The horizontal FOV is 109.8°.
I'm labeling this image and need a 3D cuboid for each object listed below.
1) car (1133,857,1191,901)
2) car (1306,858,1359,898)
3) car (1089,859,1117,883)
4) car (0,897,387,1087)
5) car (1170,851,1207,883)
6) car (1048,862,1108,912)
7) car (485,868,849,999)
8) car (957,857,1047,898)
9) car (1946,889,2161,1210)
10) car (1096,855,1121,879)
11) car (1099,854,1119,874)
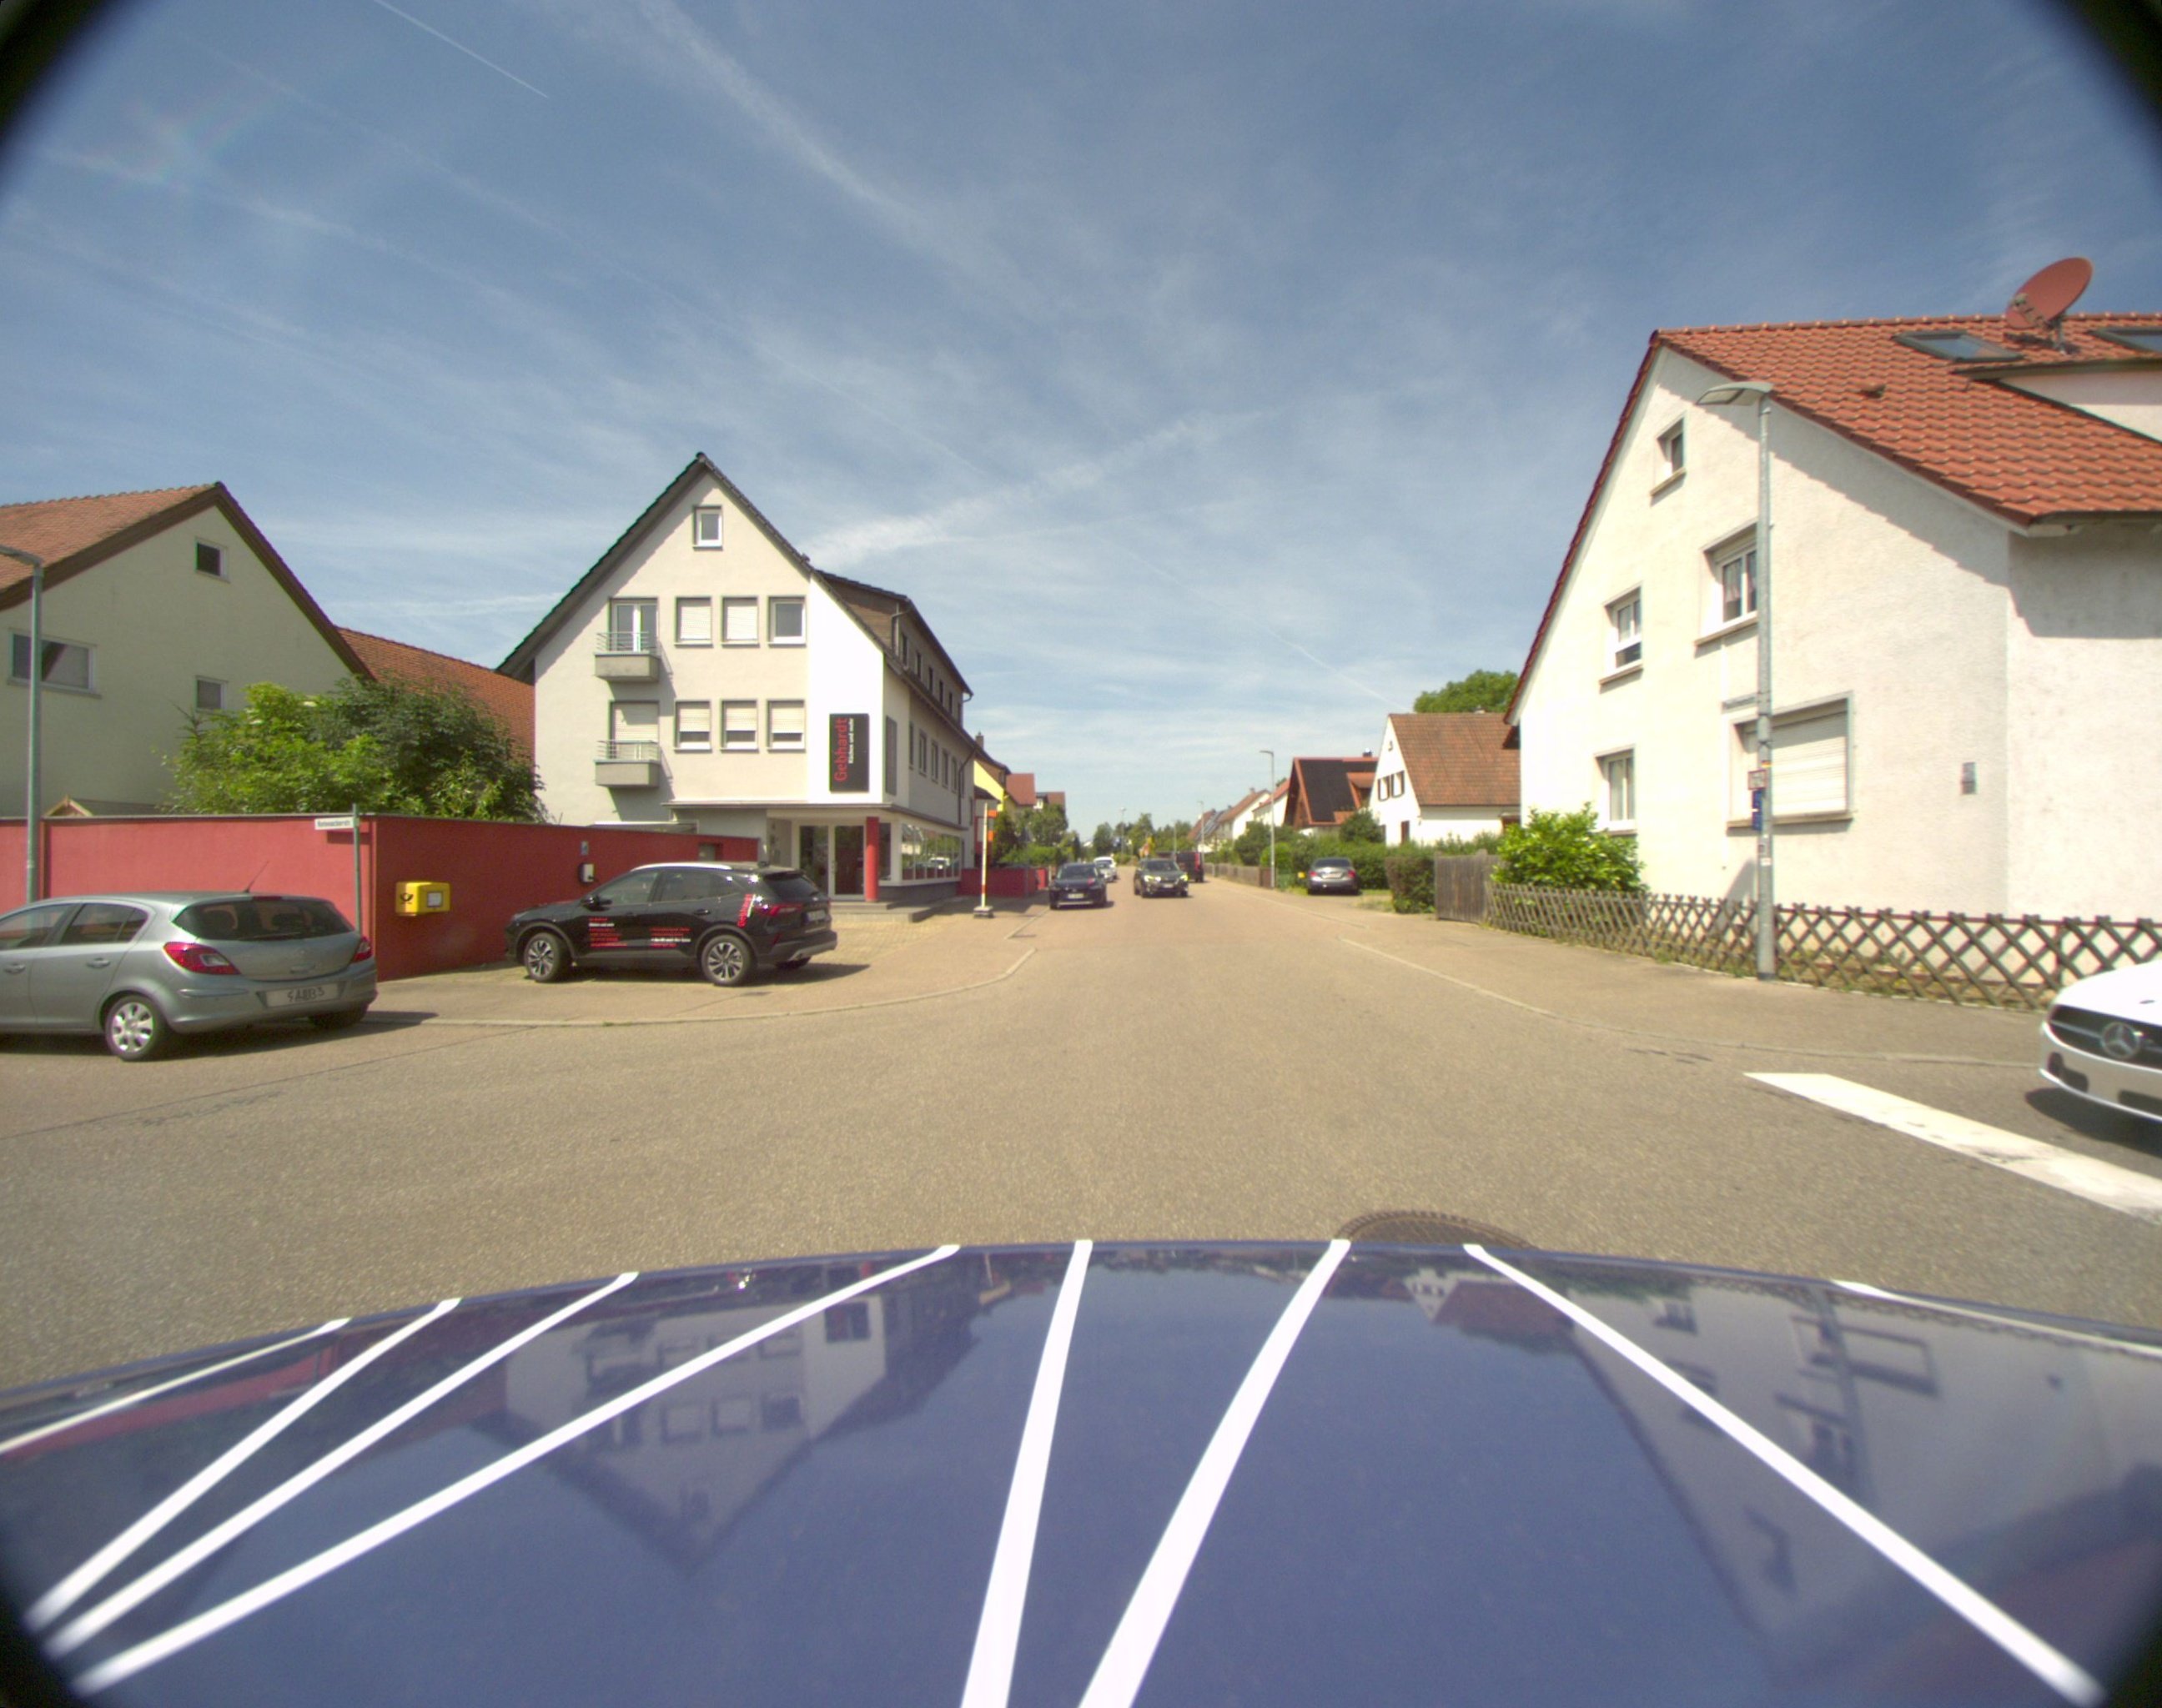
[{"bbox_3d":[3.292,0.977,31.556,1.838,1.637,4.323,-1,0,-1],"label":"car"},{"bbox_3d":[10.036,0.915,30.178,1.829,1.423,4.569,-1,0,19],"label":"car"},{"bbox_3d":[1.509,1.107,51.356,1.755,1.412,4.421,-2,0,3],"label":"car"},{"bbox_3d":[-9.300,1.194,7.329,3.994,1.495,1.696,-1,-1,8],"label":"car"},{"bbox_3d":[6.851,0.772,48.804,1.972,1.940,4.697,-1,0,4],"label":"car"},{"bbox_3d":[-0.005,1.075,26.417,1.766,1.518,4.407,-2,0,3],"label":"car"},{"bbox_3d":[-5.801,1.070,10.922,4.301,1.643,1.849,-1,0,8],"label":"car"},{"bbox_3d":[-4.140,1.222,40.455,4.378,1.659,1.877,-6,0,2],"label":"car"},{"bbox_3d":[7.089,0.878,3.015,4.485,1.390,1.932,-1,0,17],"label":"car"},{"bbox_3d":[2.094,0.949,57.454,1.740,1.652,4.338,-2,0,3],"label":"car"},{"bbox_3d":[2.585,0.915,69.753,1.669,1.739,4.057,-2,0,3],"label":"car"}]
